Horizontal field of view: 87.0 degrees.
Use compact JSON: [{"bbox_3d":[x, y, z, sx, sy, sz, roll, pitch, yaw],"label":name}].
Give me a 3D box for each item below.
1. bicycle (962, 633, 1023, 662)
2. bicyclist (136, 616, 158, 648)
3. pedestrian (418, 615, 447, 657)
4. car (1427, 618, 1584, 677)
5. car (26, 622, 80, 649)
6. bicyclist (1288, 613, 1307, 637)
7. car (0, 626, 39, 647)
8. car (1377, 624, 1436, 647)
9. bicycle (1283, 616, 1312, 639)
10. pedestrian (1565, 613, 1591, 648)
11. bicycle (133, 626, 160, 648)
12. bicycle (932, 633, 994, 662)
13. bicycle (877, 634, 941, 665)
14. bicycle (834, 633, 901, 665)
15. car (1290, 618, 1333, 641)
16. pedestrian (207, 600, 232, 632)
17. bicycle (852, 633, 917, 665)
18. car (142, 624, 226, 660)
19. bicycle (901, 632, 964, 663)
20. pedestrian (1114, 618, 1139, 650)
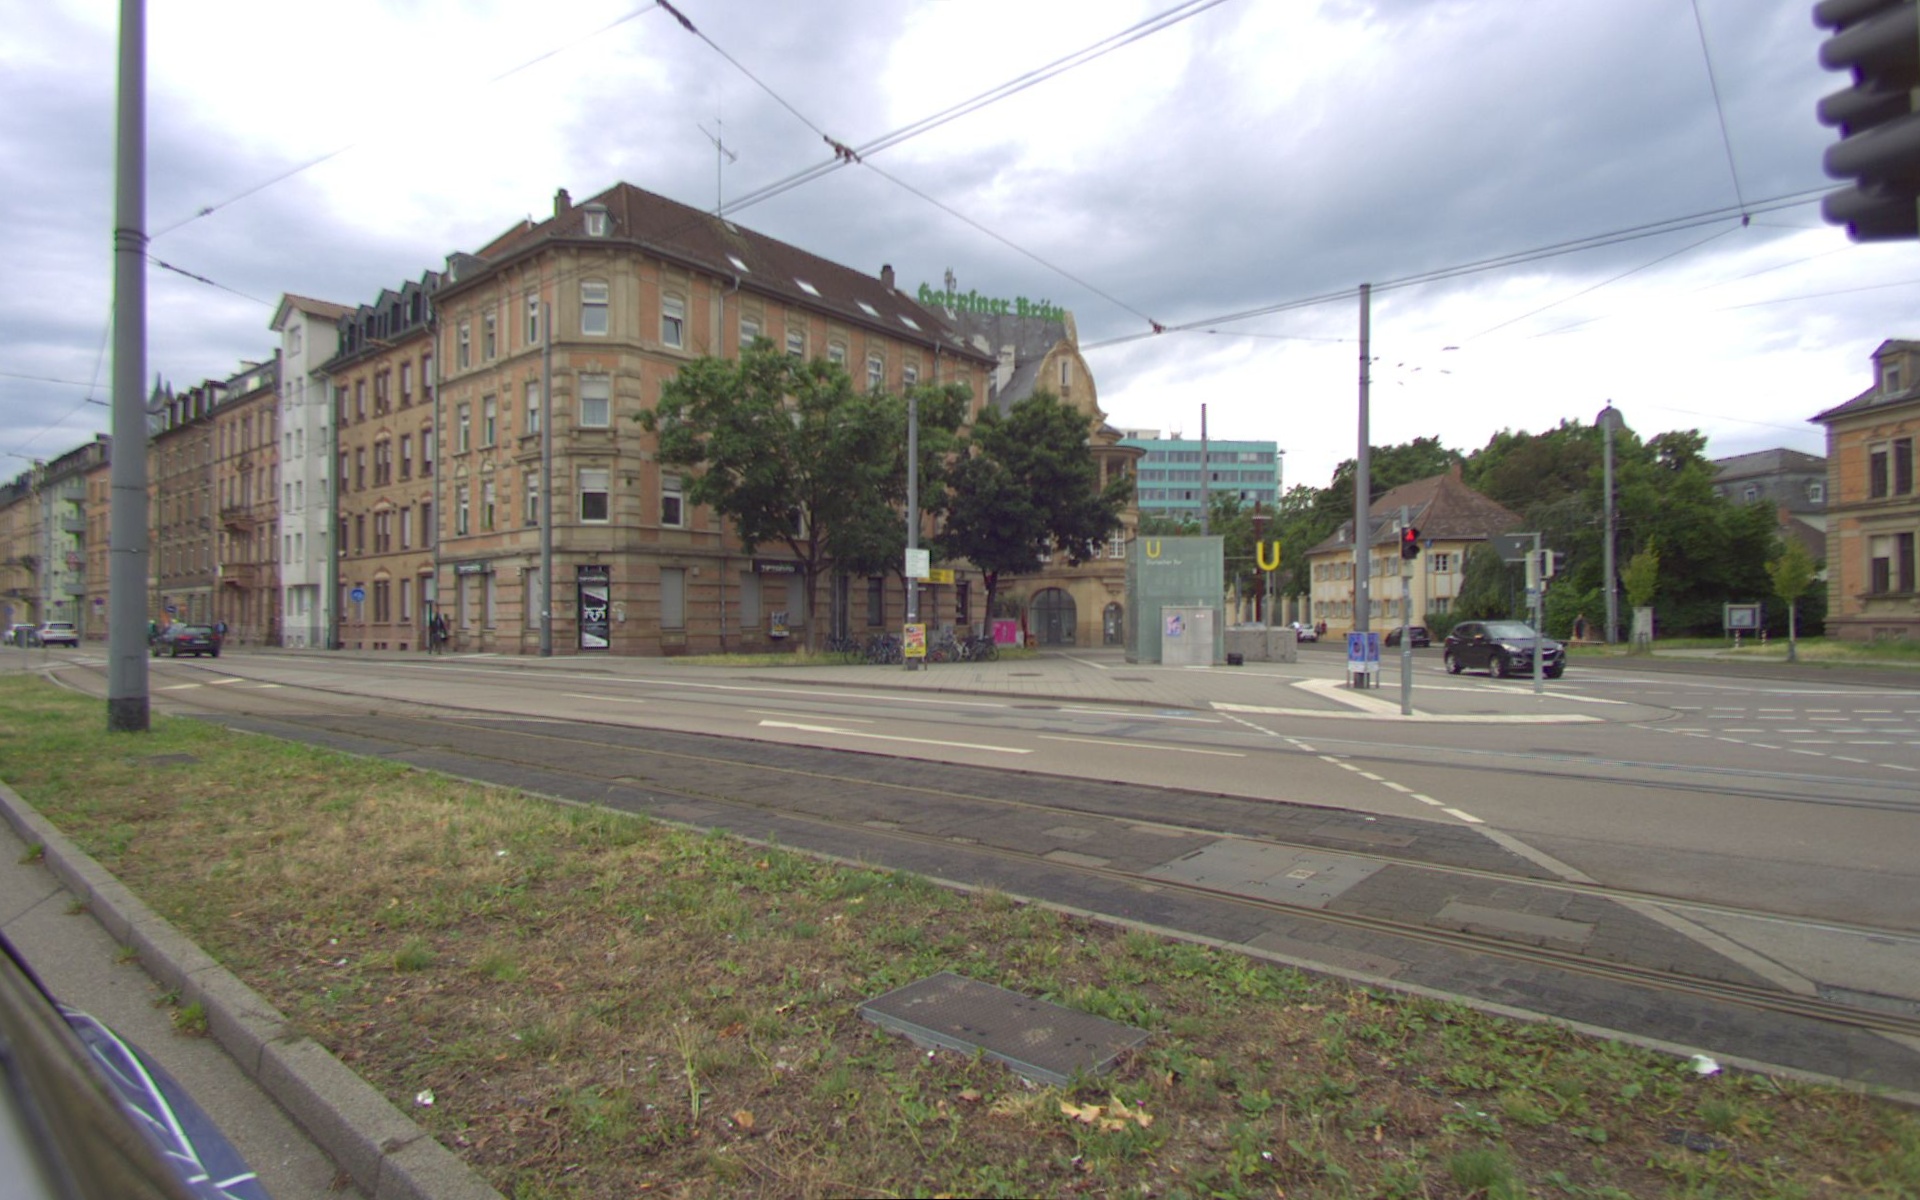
[{"bbox_3d":[1.213,1.782,38.418,2.395,1.038,0.745,-1,-2,40],"label":"bicycle"},{"bbox_3d":[-47.932,1.883,59.647,0.923,1.881,0.813,-1,-2,40],"label":"bicyclist"},{"bbox_3d":[-21.686,1.471,41.603,0.797,1.688,0.802,-1,-2,36],"label":"pedestrian"},{"bbox_3d":[16.082,1.355,30.129,1.969,1.623,4.251,0,-1,-7],"label":"car"},{"bbox_3d":[-57.640,2.262,64.297,4.225,1.658,1.813,-1,-2,38],"label":"car"},{"bbox_3d":[26.342,1.951,78.996,1.077,1.796,1.017,0,-1,-3],"label":"bicyclist"},{"bbox_3d":[-67.081,2.581,71.878,4.012,1.442,1.793,-1,-2,38],"label":"car"},{"bbox_3d":[29.463,2.308,66.959,1.971,1.442,4.002,0,-1,-3],"label":"car"},{"bbox_3d":[26.352,2.159,79.182,1.070,1.763,3.088,0,-1,-3],"label":"bicycle"},{"bbox_3d":[33.113,1.643,54.216,0.797,1.846,0.851,0,-1,-7],"label":"pedestrian"},{"bbox_3d":[-48.042,2.172,59.737,2.409,1.302,0.788,-1,-2,40],"label":"bicycle"},{"bbox_3d":[0.105,1.750,37.565,2.395,1.038,0.745,-1,-2,40],"label":"bicycle"},{"bbox_3d":[-1.814,1.730,35.664,2.395,1.038,0.745,-1,-2,40],"label":"bicycle"},{"bbox_3d":[-3.129,1.625,34.134,2.395,1.038,0.826,-1,-2,40],"label":"bicycle"},{"bbox_3d":[29.048,2.399,83.672,1.971,1.863,4.002,0,-1,-3],"label":"car"},{"bbox_3d":[-43.008,0.927,58.772,0.711,1.846,0.918,0,-1,4],"label":"pedestrian"},{"bbox_3d":[-2.625,1.659,34.762,2.395,1.038,0.745,-1,-2,40],"label":"bicycle"},{"bbox_3d":[-33.892,1.807,44.151,4.458,1.481,1.865,-1,-2,38],"label":"car"},{"bbox_3d":[-1.005,1.694,36.402,2.395,1.038,0.745,-1,-2,40],"label":"bicycle"},{"bbox_3d":[9.880,2.012,60.009,1.083,1.911,1.140,-1,-2,33],"label":"pedestrian"}]
